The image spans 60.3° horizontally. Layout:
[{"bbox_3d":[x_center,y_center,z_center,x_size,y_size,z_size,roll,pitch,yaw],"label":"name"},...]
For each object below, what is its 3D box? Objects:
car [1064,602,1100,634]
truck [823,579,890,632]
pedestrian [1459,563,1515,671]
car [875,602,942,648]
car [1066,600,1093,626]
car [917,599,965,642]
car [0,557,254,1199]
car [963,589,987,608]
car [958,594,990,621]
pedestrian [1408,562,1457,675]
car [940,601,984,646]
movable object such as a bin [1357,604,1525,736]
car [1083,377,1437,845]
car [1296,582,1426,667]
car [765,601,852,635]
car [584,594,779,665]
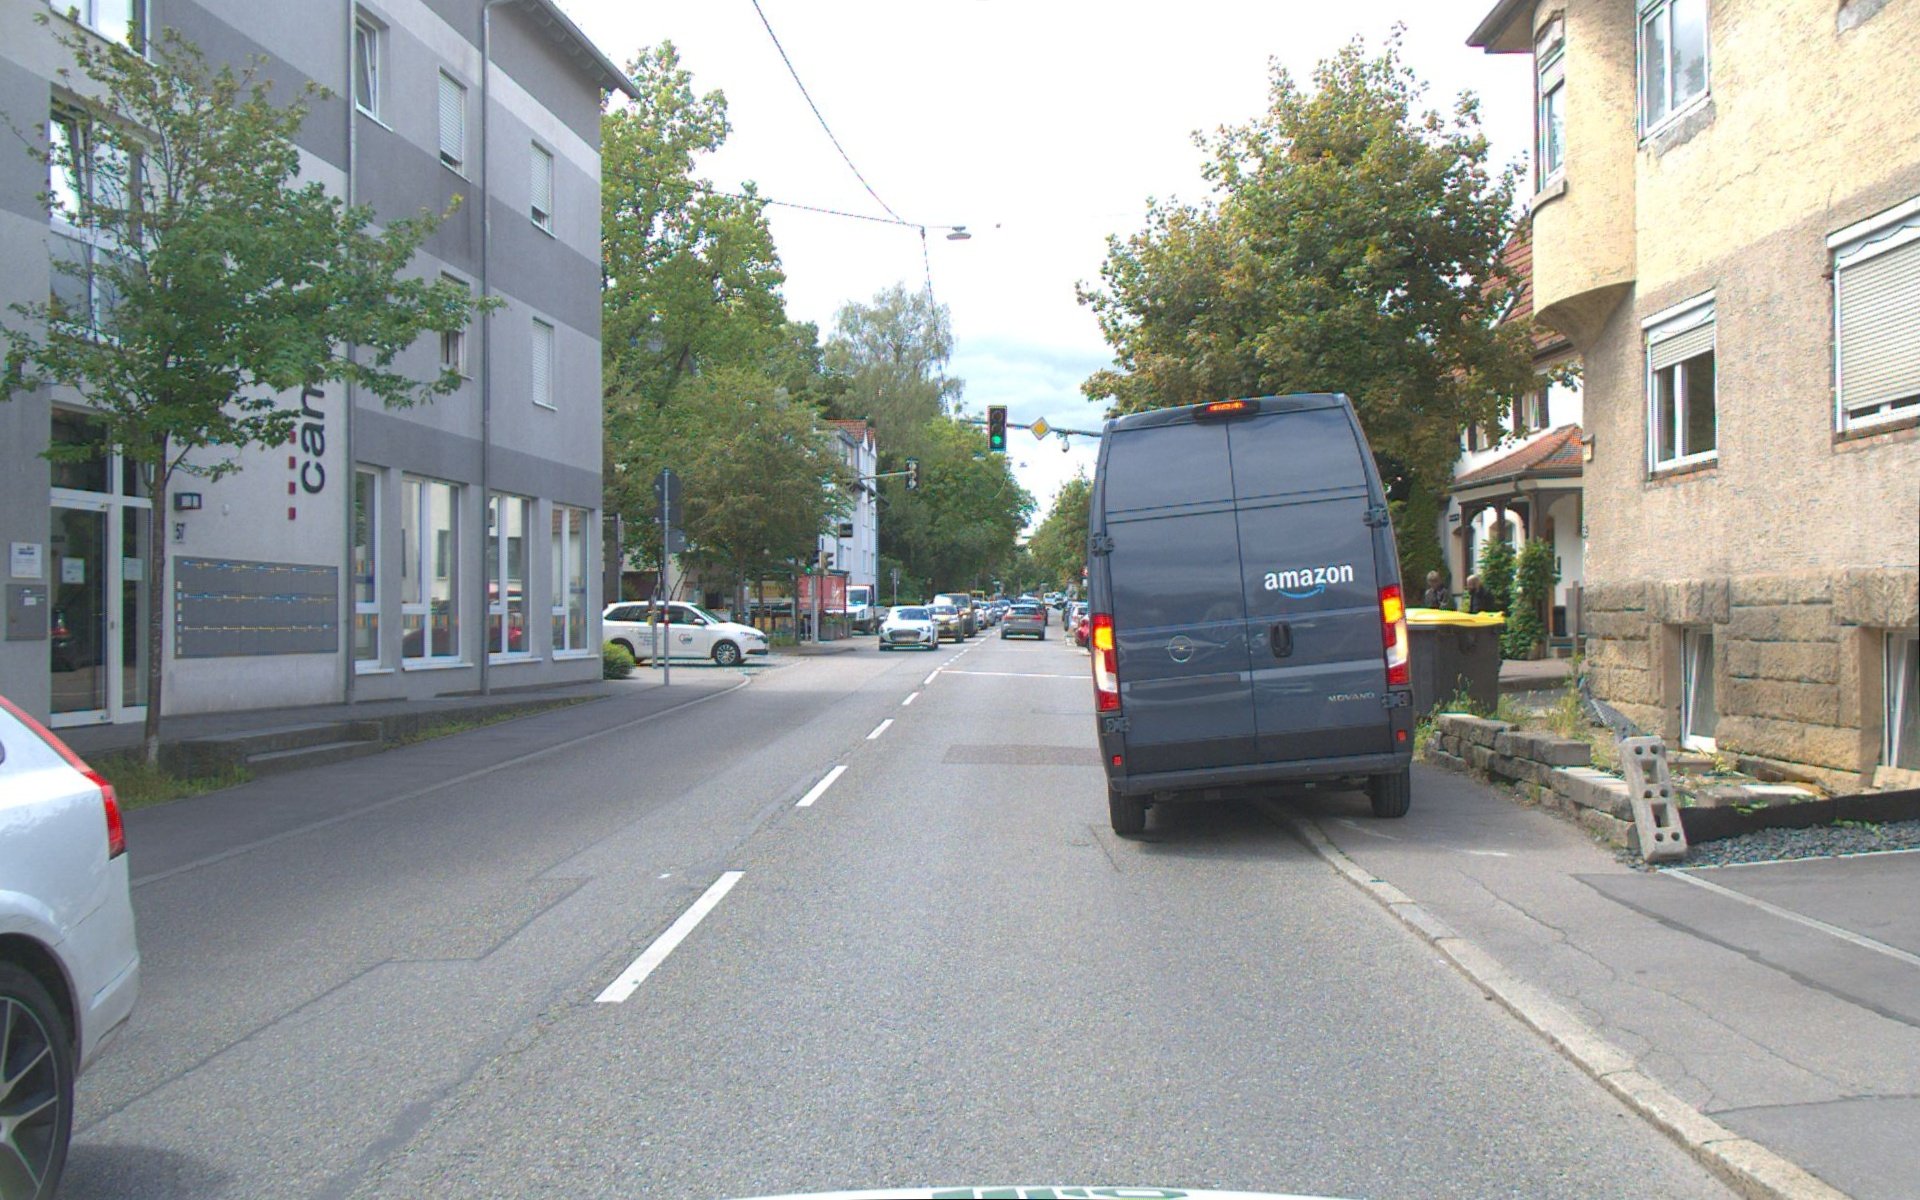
[{"bbox_3d":[6.014,0.869,81.867,1.665,1.506,4.874,1,0,3],"label":"car"},{"bbox_3d":[-4.898,0.282,79.427,2.177,2.421,6.329,0,-1,6],"label":"truck"},{"bbox_3d":[8.389,0.267,26.336,0.769,1.672,0.798,0,0,24],"label":"pedestrian"},{"bbox_3d":[-1.645,0.778,53.859,1.835,1.449,4.117,0,0,3],"label":"car"},{"bbox_3d":[7.304,0.759,101.586,1.588,1.534,3.780,0,0,3],"label":"car"},{"bbox_3d":[-0.713,0.772,64.490,1.692,1.565,4.001,0,1,2],"label":"car"},{"bbox_3d":[-3.009,0.749,2.296,1.858,1.587,4.801,-3,0,1],"label":"car"},{"bbox_3d":[1.625,-0.127,175.684,2.100,2.015,4.934,0,-1,6],"label":"car"},{"bbox_3d":[0.855,0.410,99.661,1.692,1.529,4.377,-2,0,2],"label":"car"},{"bbox_3d":[7.713,0.298,26.965,0.725,1.814,0.900,0,0,18],"label":"pedestrian"},{"bbox_3d":[0.107,1.013,74.081,1.838,1.946,4.752,0,0,1],"label":"car"},{"bbox_3d":[4.927,0.684,16.992,1.169,1.288,1.198,0,0,-29],"label":"movable object such as a bin"},{"bbox_3d":[2.041,0.069,13.145,2.102,2.819,6.252,0,0,4],"label":"car"},{"bbox_3d":[8.572,0.480,35.097,1.718,1.543,4.075,-4,0,27],"label":"car"},{"bbox_3d":[-6.596,0.763,72.075,3.617,1.450,1.805,0,0,-1],"label":"car"},{"bbox_3d":[-6.404,0.659,38.314,4.124,1.540,1.823,0,1,3],"label":"car"}]
